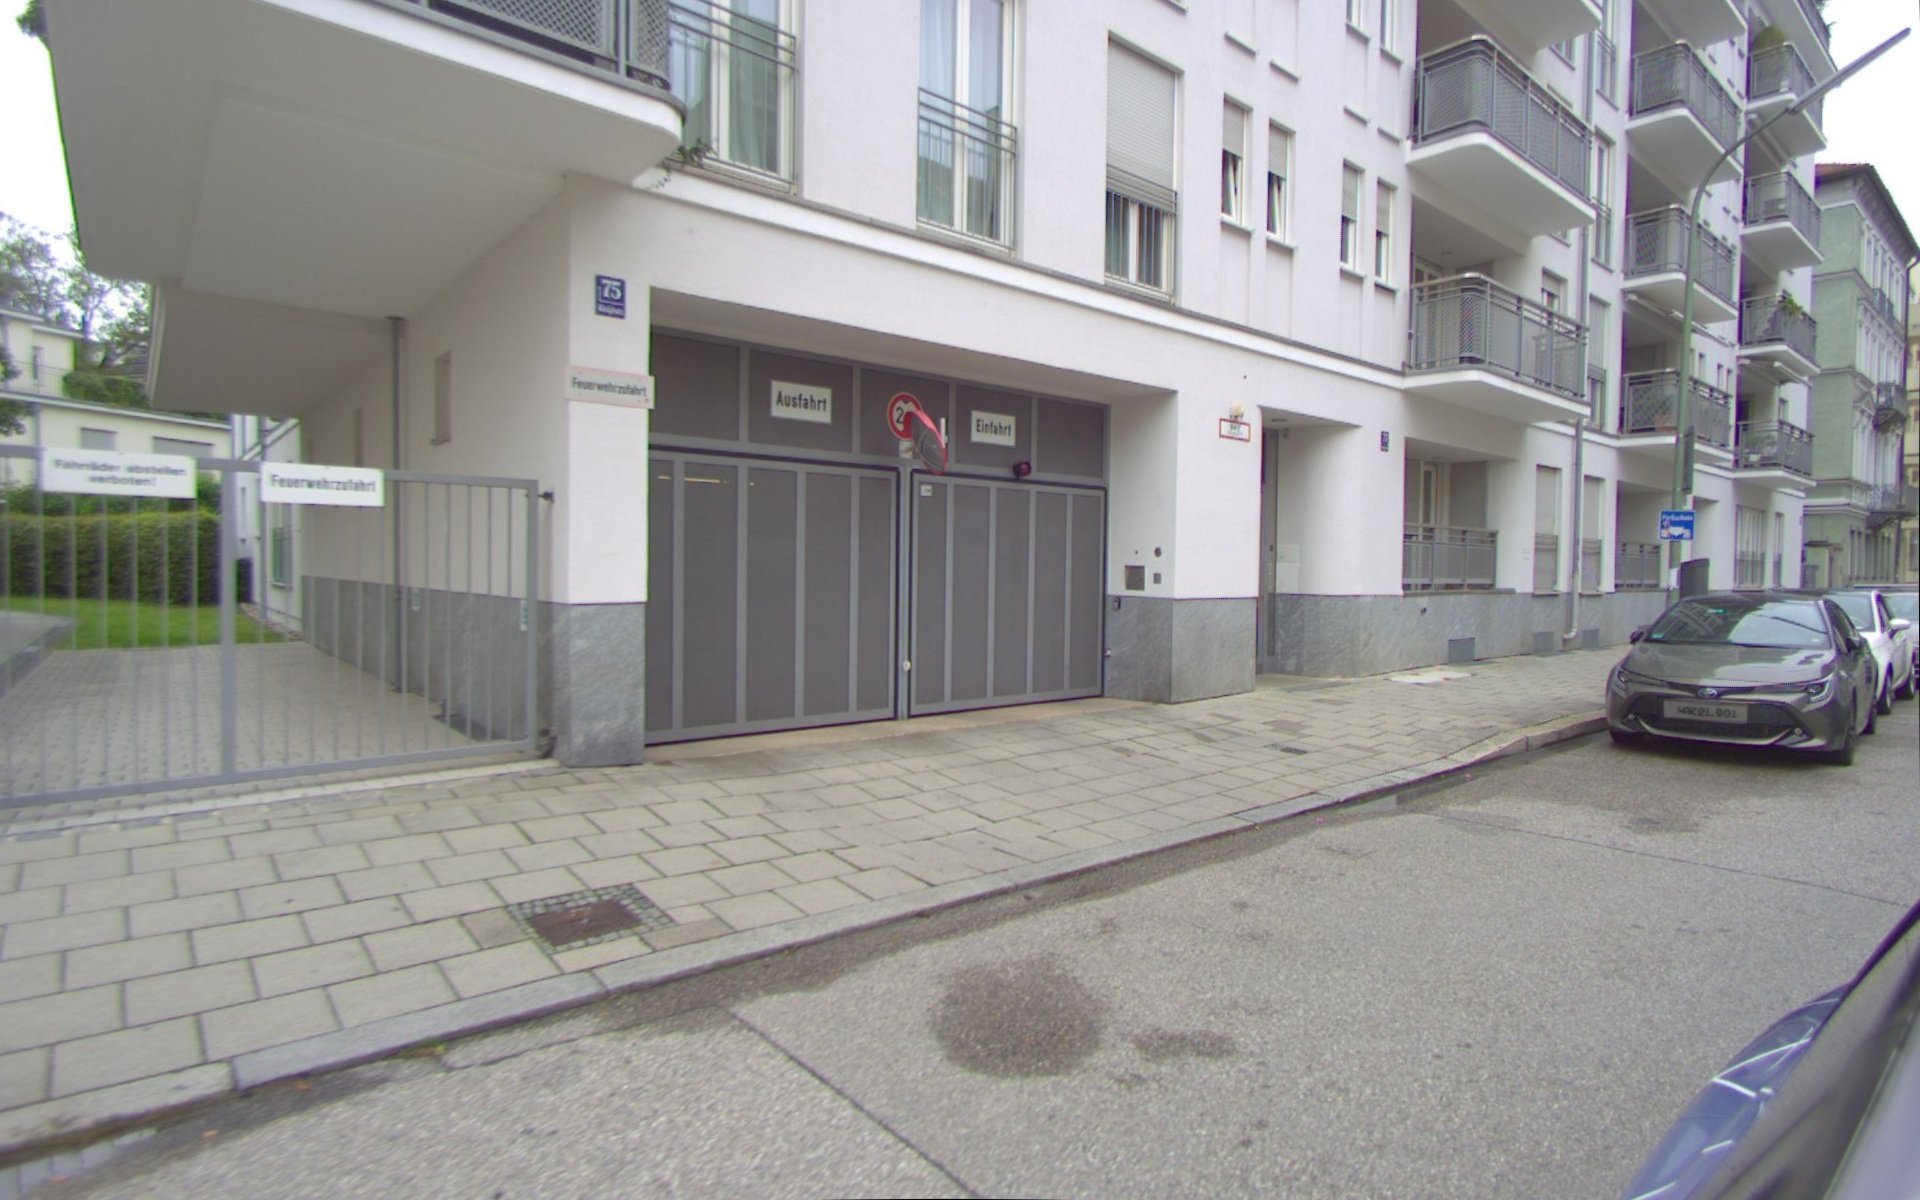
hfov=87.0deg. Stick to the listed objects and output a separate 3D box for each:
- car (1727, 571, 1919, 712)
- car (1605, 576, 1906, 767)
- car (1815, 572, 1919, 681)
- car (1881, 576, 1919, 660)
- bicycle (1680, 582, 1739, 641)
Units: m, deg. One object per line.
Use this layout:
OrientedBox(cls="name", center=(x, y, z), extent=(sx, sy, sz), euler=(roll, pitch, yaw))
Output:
OrientedBox(cls="car", center=(11.074, 0.420, 12.832), extent=(3.466, 1.549, 1.521), euler=(-1, 1, -42))
OrientedBox(cls="car", center=(7.854, 0.503, 9.850), extent=(4.012, 1.425, 1.765), euler=(-2, 2, -44))
OrientedBox(cls="car", center=(15.202, 0.339, 16.199), extent=(4.543, 1.550, 1.736), euler=(-1, 0, -42))
OrientedBox(cls="car", center=(19.558, 0.298, 20.027), extent=(3.917, 1.550, 1.605), euler=(-1, 0, -42))
OrientedBox(cls="bicycle", center=(15.984, 0.220, 21.564), extent=(2.092, 1.174, 0.628), euler=(-1, 2, -43))
